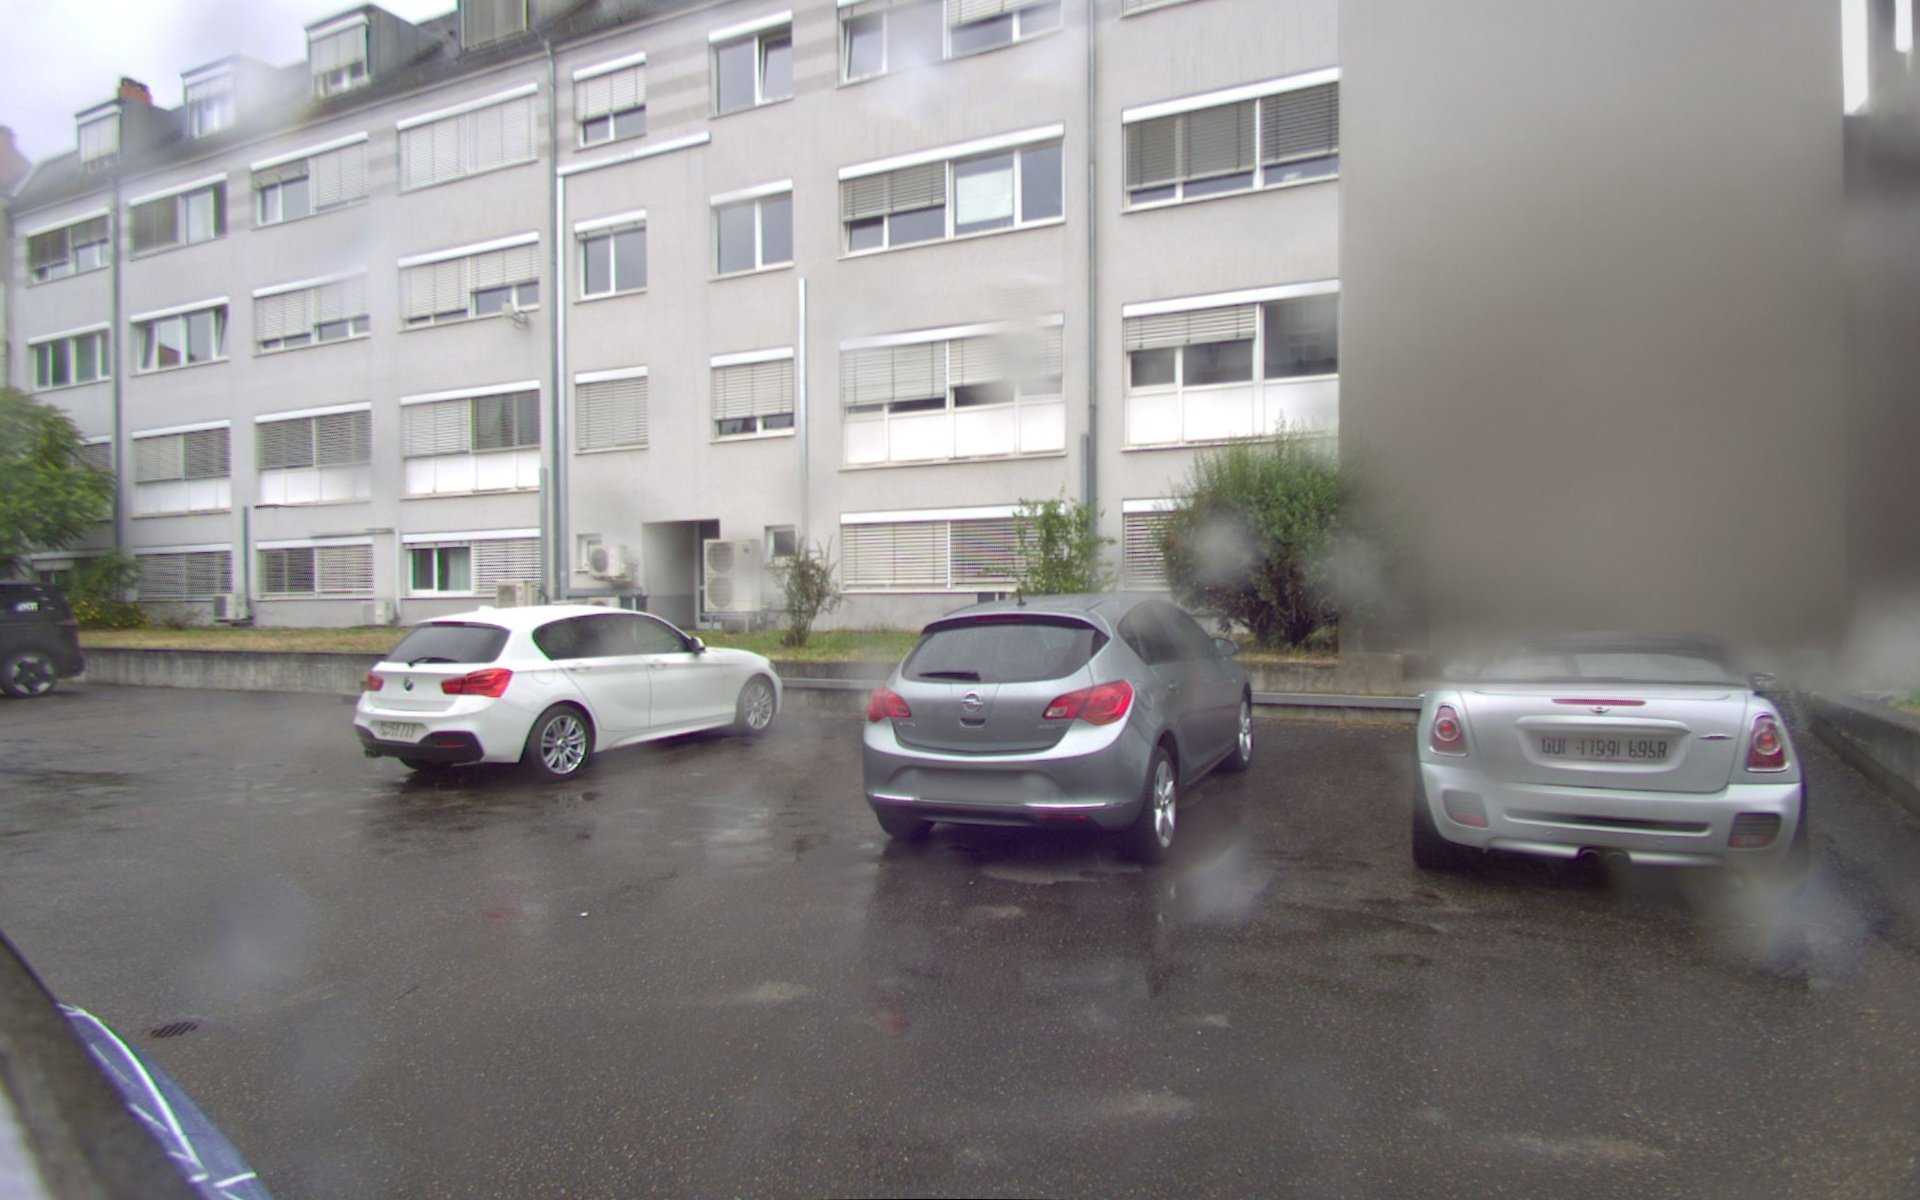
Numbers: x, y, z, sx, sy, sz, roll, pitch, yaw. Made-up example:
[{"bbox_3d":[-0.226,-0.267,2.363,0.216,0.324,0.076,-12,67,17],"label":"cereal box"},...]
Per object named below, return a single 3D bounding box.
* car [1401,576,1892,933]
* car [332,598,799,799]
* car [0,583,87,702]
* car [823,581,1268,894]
[{"bbox_3d":[3.882,0.611,6.399,1.812,1.343,4.143,-1,2,26],"label":"car"},{"bbox_3d":[-3.417,0.720,9.654,1.743,1.444,4.118,0,0,25],"label":"car"},{"bbox_3d":[-16.202,0.706,14.962,1.975,1.850,4.597,-2,0,22],"label":"car"},{"bbox_3d":[0.930,0.660,7.106,1.811,1.495,4.144,-1,0,25],"label":"car"}]
